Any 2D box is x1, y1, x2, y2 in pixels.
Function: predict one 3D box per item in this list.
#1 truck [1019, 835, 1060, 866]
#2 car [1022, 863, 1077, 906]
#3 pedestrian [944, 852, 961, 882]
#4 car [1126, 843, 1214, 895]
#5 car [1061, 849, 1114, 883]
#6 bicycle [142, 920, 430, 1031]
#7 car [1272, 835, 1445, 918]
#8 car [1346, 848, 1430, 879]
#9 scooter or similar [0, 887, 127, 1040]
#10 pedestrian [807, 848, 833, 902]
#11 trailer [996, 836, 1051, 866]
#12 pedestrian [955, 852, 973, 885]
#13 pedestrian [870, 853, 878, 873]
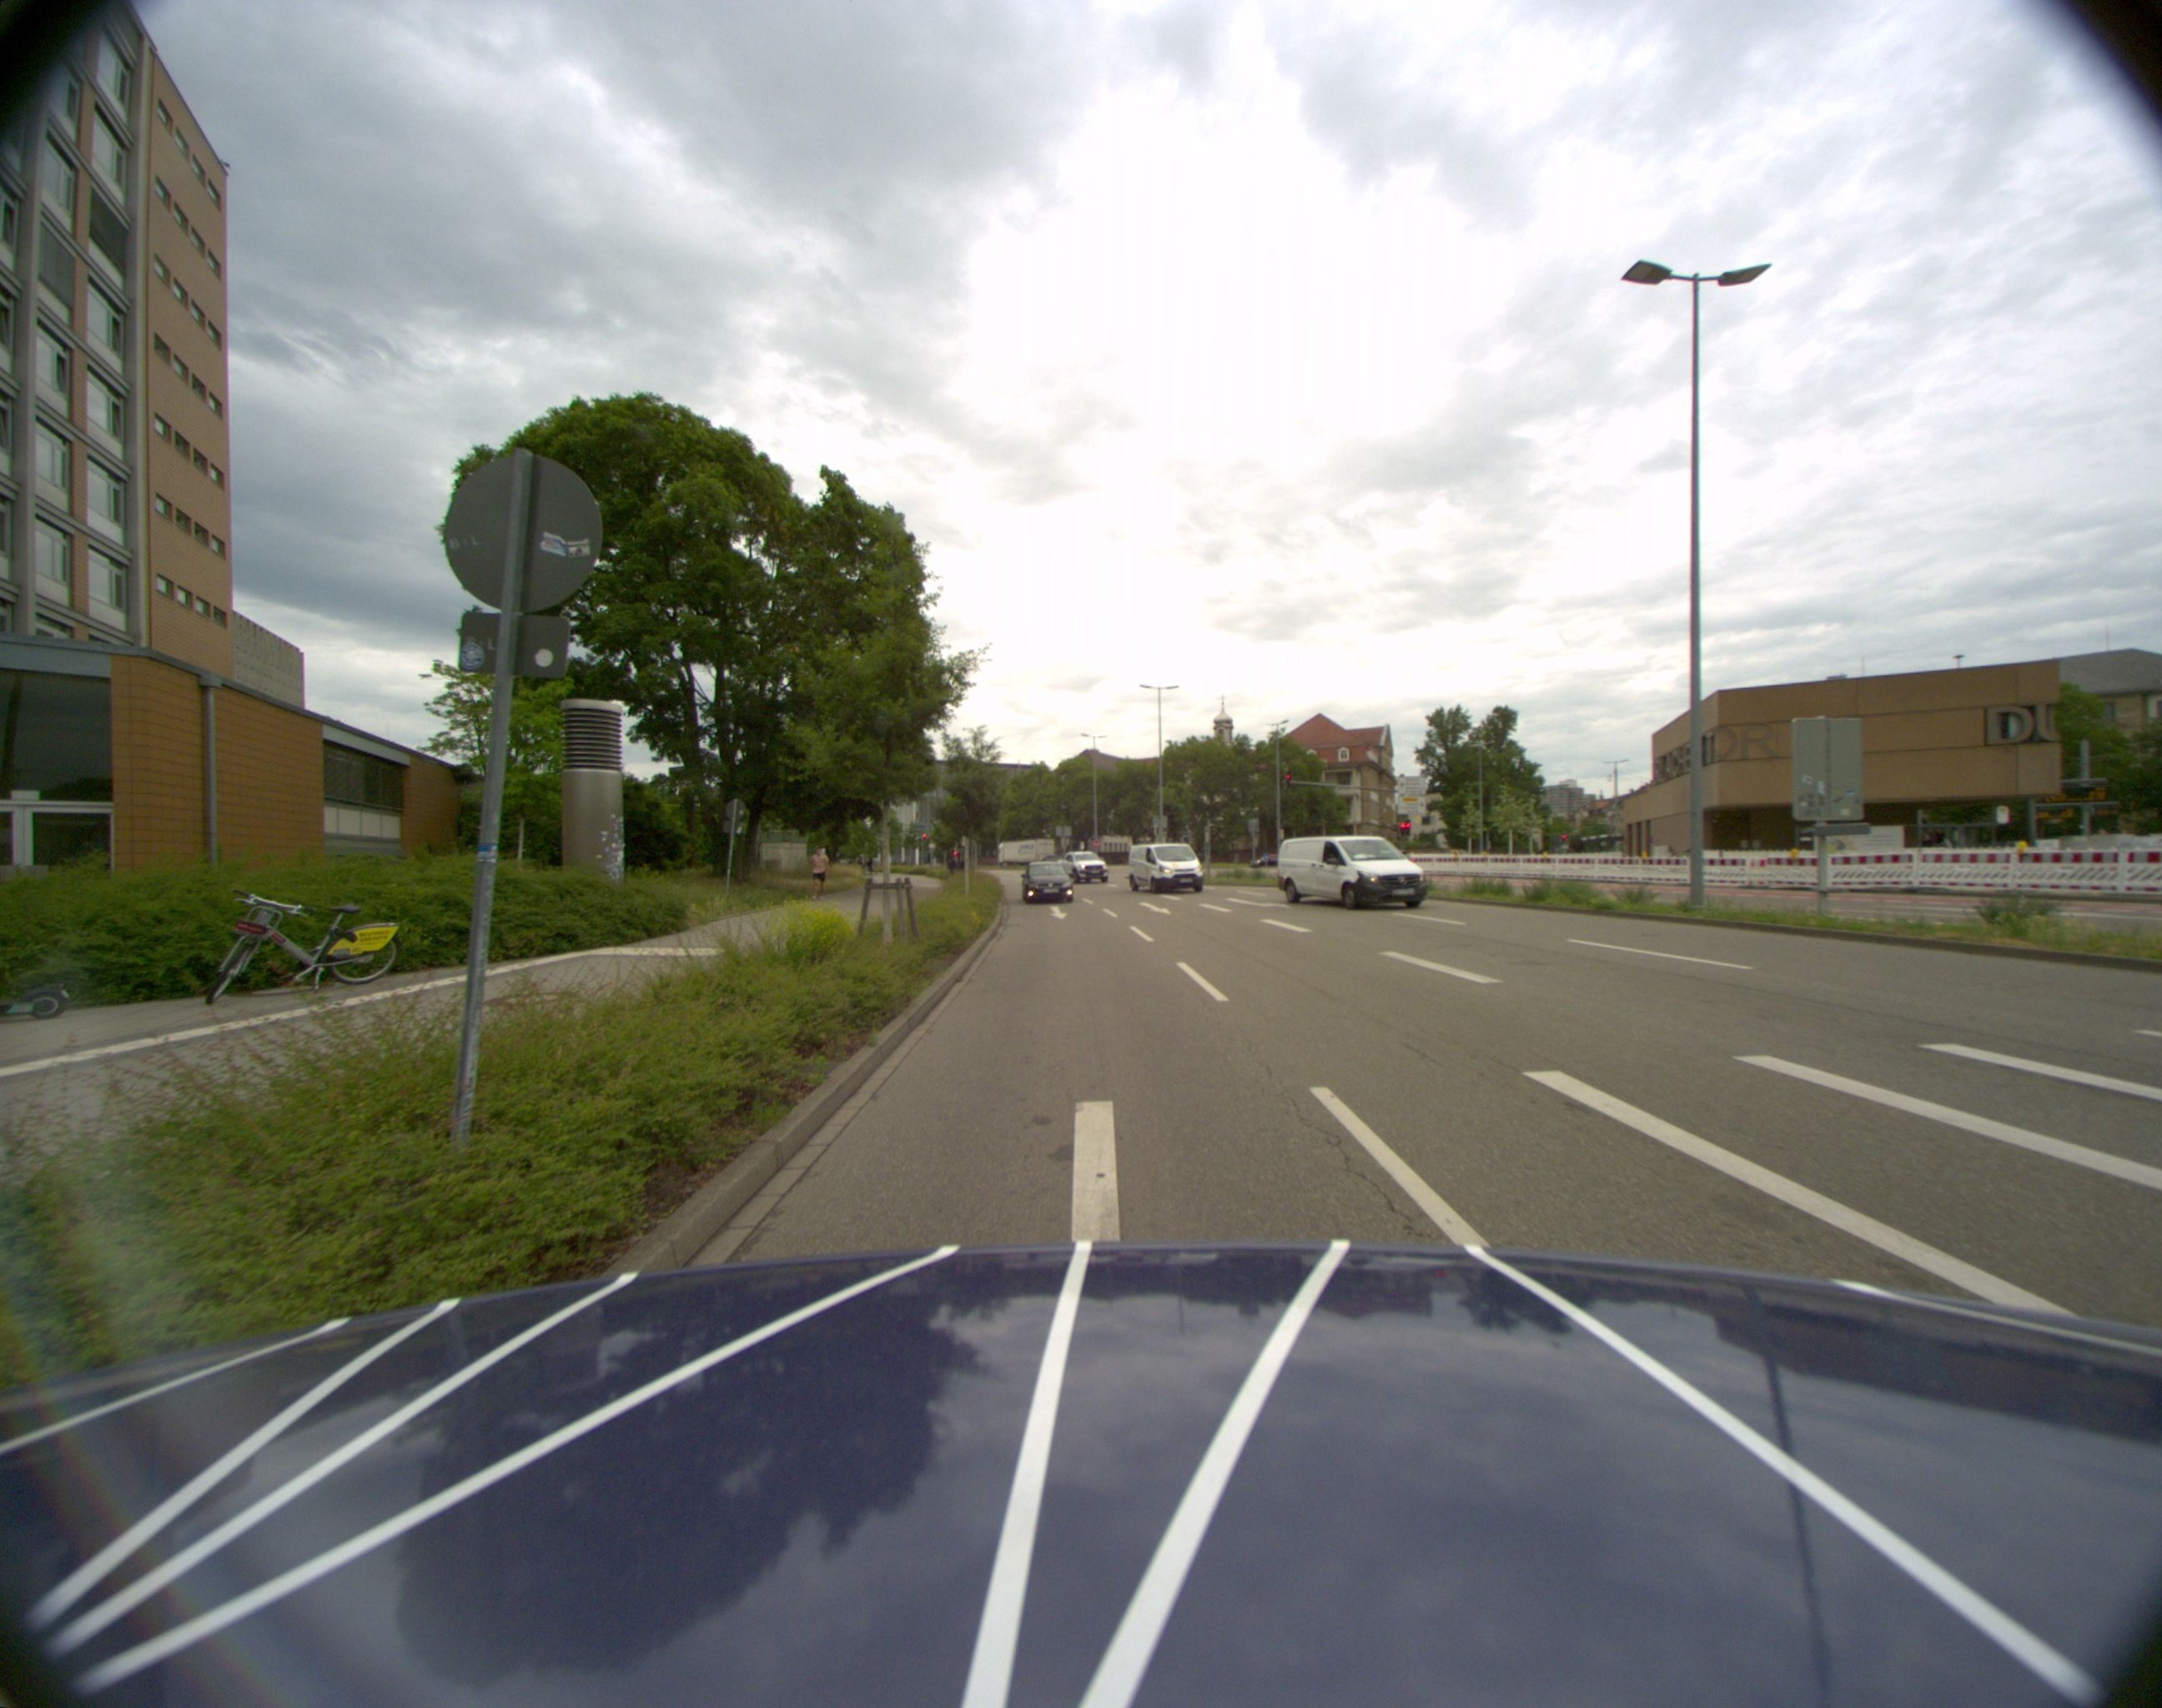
[{"bbox_3d":[-5.676,-0.423,102.167,2.917,4.001,7.147,-2,0,-25],"label":"truck"},{"bbox_3d":[-1.228,1.044,27.708,1.656,1.404,3.997,-1,0,-7],"label":"car"},{"bbox_3d":[-7.761,0.793,45.974,0.596,1.790,0.723,3,1,44],"label":"pedestrian"},{"bbox_3d":[3.534,0.580,31.153,2.001,1.930,4.518,-1,0,-15],"label":"car"},{"bbox_3d":[0.303,0.669,44.612,2.091,1.838,4.746,-1,0,-12],"label":"car"},{"bbox_3d":[-8.264,1.211,8.066,0.557,0.843,2.076,-1,0,16],"label":"bicycle"},{"bbox_3d":[7.241,0.529,20.552,1.924,1.871,5.083,-2,0,-12],"label":"car"},{"bbox_3d":[14.952,0.429,37.216,2.000,1.390,3.996,-1,0,-10],"label":"car"},{"bbox_3d":[-9.780,0.975,6.640,1.607,1.282,0.693,-2,1,-31],"label":"scooter or similar"},{"bbox_3d":[-8.834,0.706,25.776,0.631,1.790,0.597,2,0,-3],"label":"pedestrian"},{"bbox_3d":[-8.349,-0.328,107.997,2.951,3.990,13.783,-2,0,-25],"label":"trailer"},{"bbox_3d":[-6.502,0.827,42.282,0.596,1.790,0.723,3,1,44],"label":"pedestrian"},{"bbox_3d":[-18.925,0.833,69.435,0.598,1.790,0.518,2,0,-22],"label":"pedestrian"}]
